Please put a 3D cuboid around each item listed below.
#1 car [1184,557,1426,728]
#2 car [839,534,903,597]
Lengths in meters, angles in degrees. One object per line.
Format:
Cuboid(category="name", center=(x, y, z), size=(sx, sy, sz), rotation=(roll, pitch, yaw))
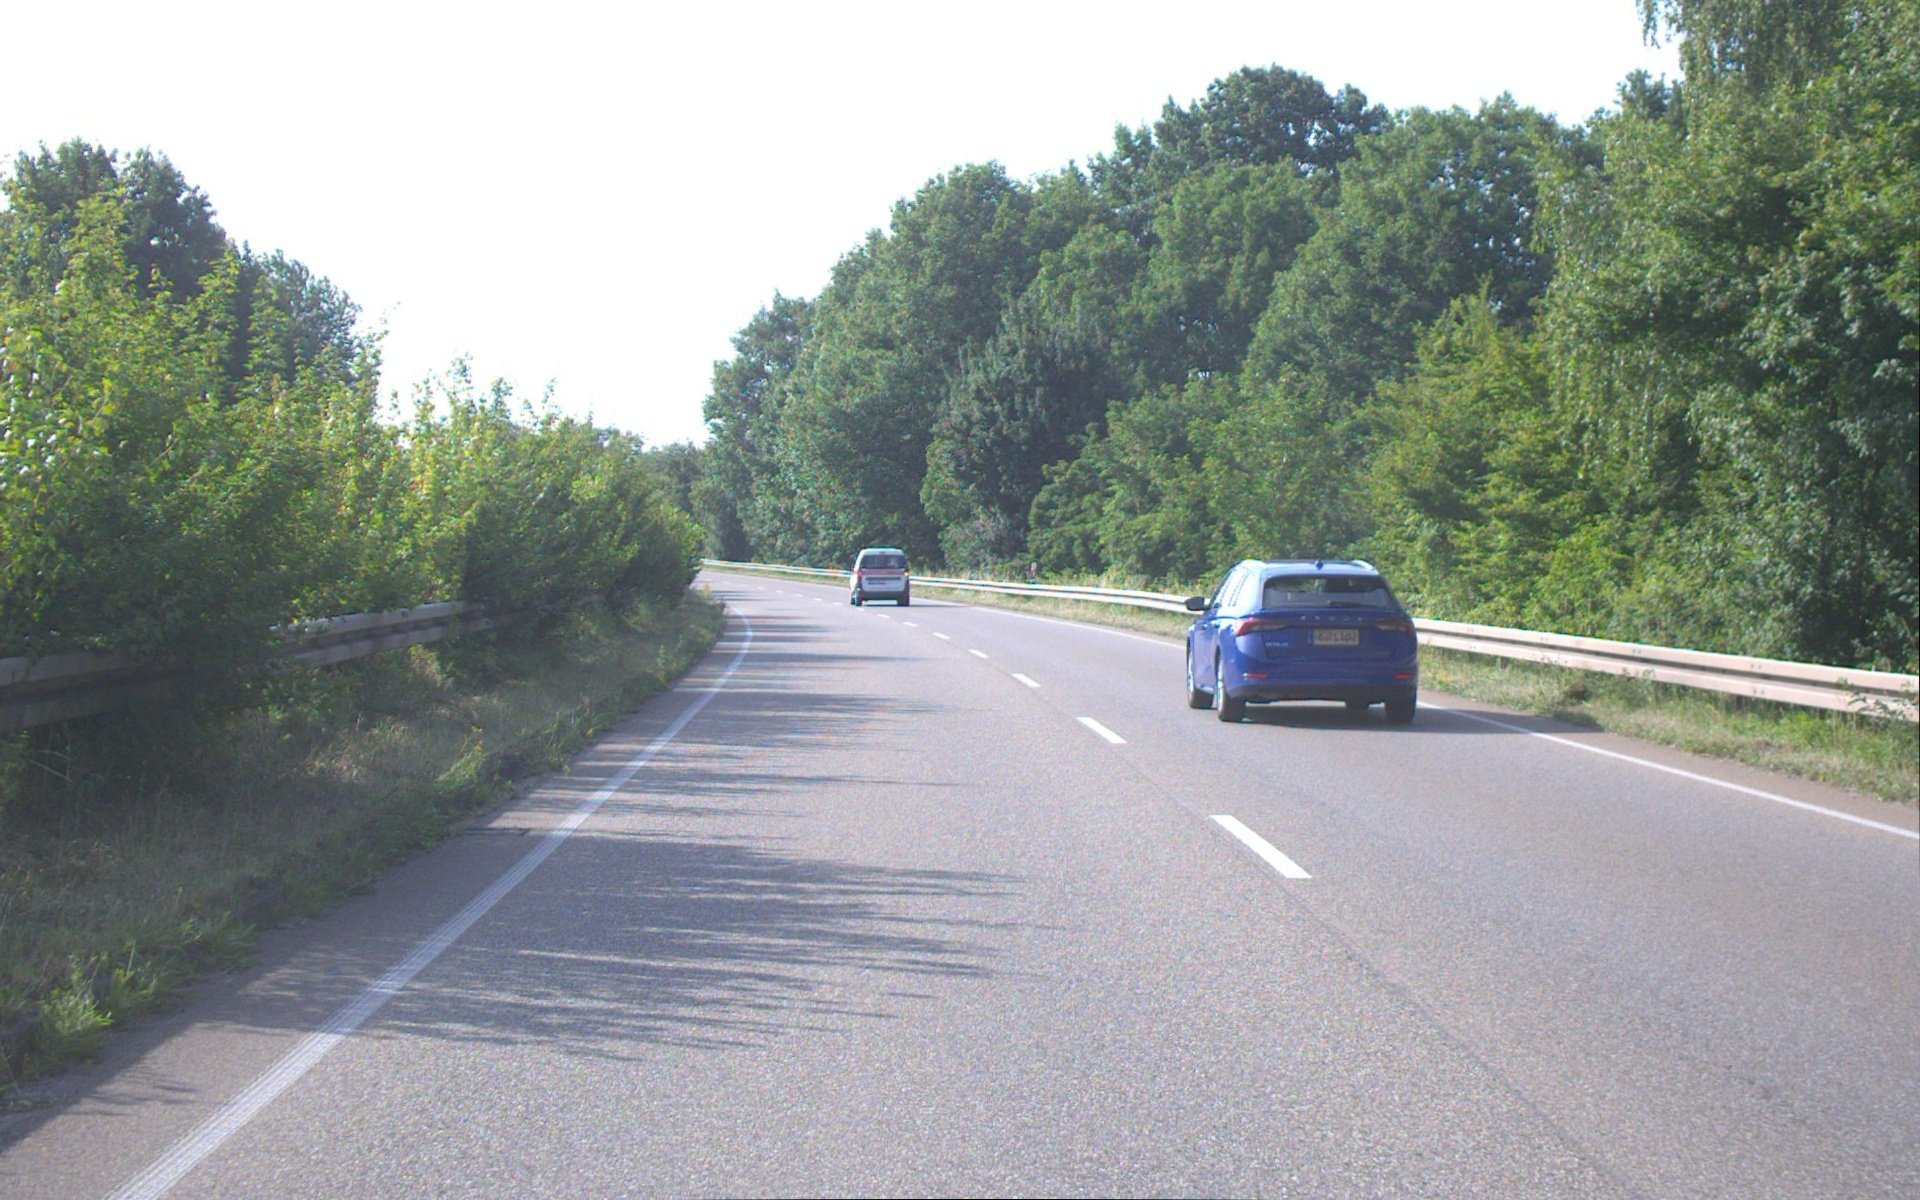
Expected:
Cuboid(category="car", center=(3.112, 0.340, 31.713), size=(1.779, 1.446, 4.000), rotation=(1, 1, 0))
Cuboid(category="car", center=(-2.826, -1.109, 108.379), size=(1.765, 1.875, 4.001), rotation=(1, 2, -5))
